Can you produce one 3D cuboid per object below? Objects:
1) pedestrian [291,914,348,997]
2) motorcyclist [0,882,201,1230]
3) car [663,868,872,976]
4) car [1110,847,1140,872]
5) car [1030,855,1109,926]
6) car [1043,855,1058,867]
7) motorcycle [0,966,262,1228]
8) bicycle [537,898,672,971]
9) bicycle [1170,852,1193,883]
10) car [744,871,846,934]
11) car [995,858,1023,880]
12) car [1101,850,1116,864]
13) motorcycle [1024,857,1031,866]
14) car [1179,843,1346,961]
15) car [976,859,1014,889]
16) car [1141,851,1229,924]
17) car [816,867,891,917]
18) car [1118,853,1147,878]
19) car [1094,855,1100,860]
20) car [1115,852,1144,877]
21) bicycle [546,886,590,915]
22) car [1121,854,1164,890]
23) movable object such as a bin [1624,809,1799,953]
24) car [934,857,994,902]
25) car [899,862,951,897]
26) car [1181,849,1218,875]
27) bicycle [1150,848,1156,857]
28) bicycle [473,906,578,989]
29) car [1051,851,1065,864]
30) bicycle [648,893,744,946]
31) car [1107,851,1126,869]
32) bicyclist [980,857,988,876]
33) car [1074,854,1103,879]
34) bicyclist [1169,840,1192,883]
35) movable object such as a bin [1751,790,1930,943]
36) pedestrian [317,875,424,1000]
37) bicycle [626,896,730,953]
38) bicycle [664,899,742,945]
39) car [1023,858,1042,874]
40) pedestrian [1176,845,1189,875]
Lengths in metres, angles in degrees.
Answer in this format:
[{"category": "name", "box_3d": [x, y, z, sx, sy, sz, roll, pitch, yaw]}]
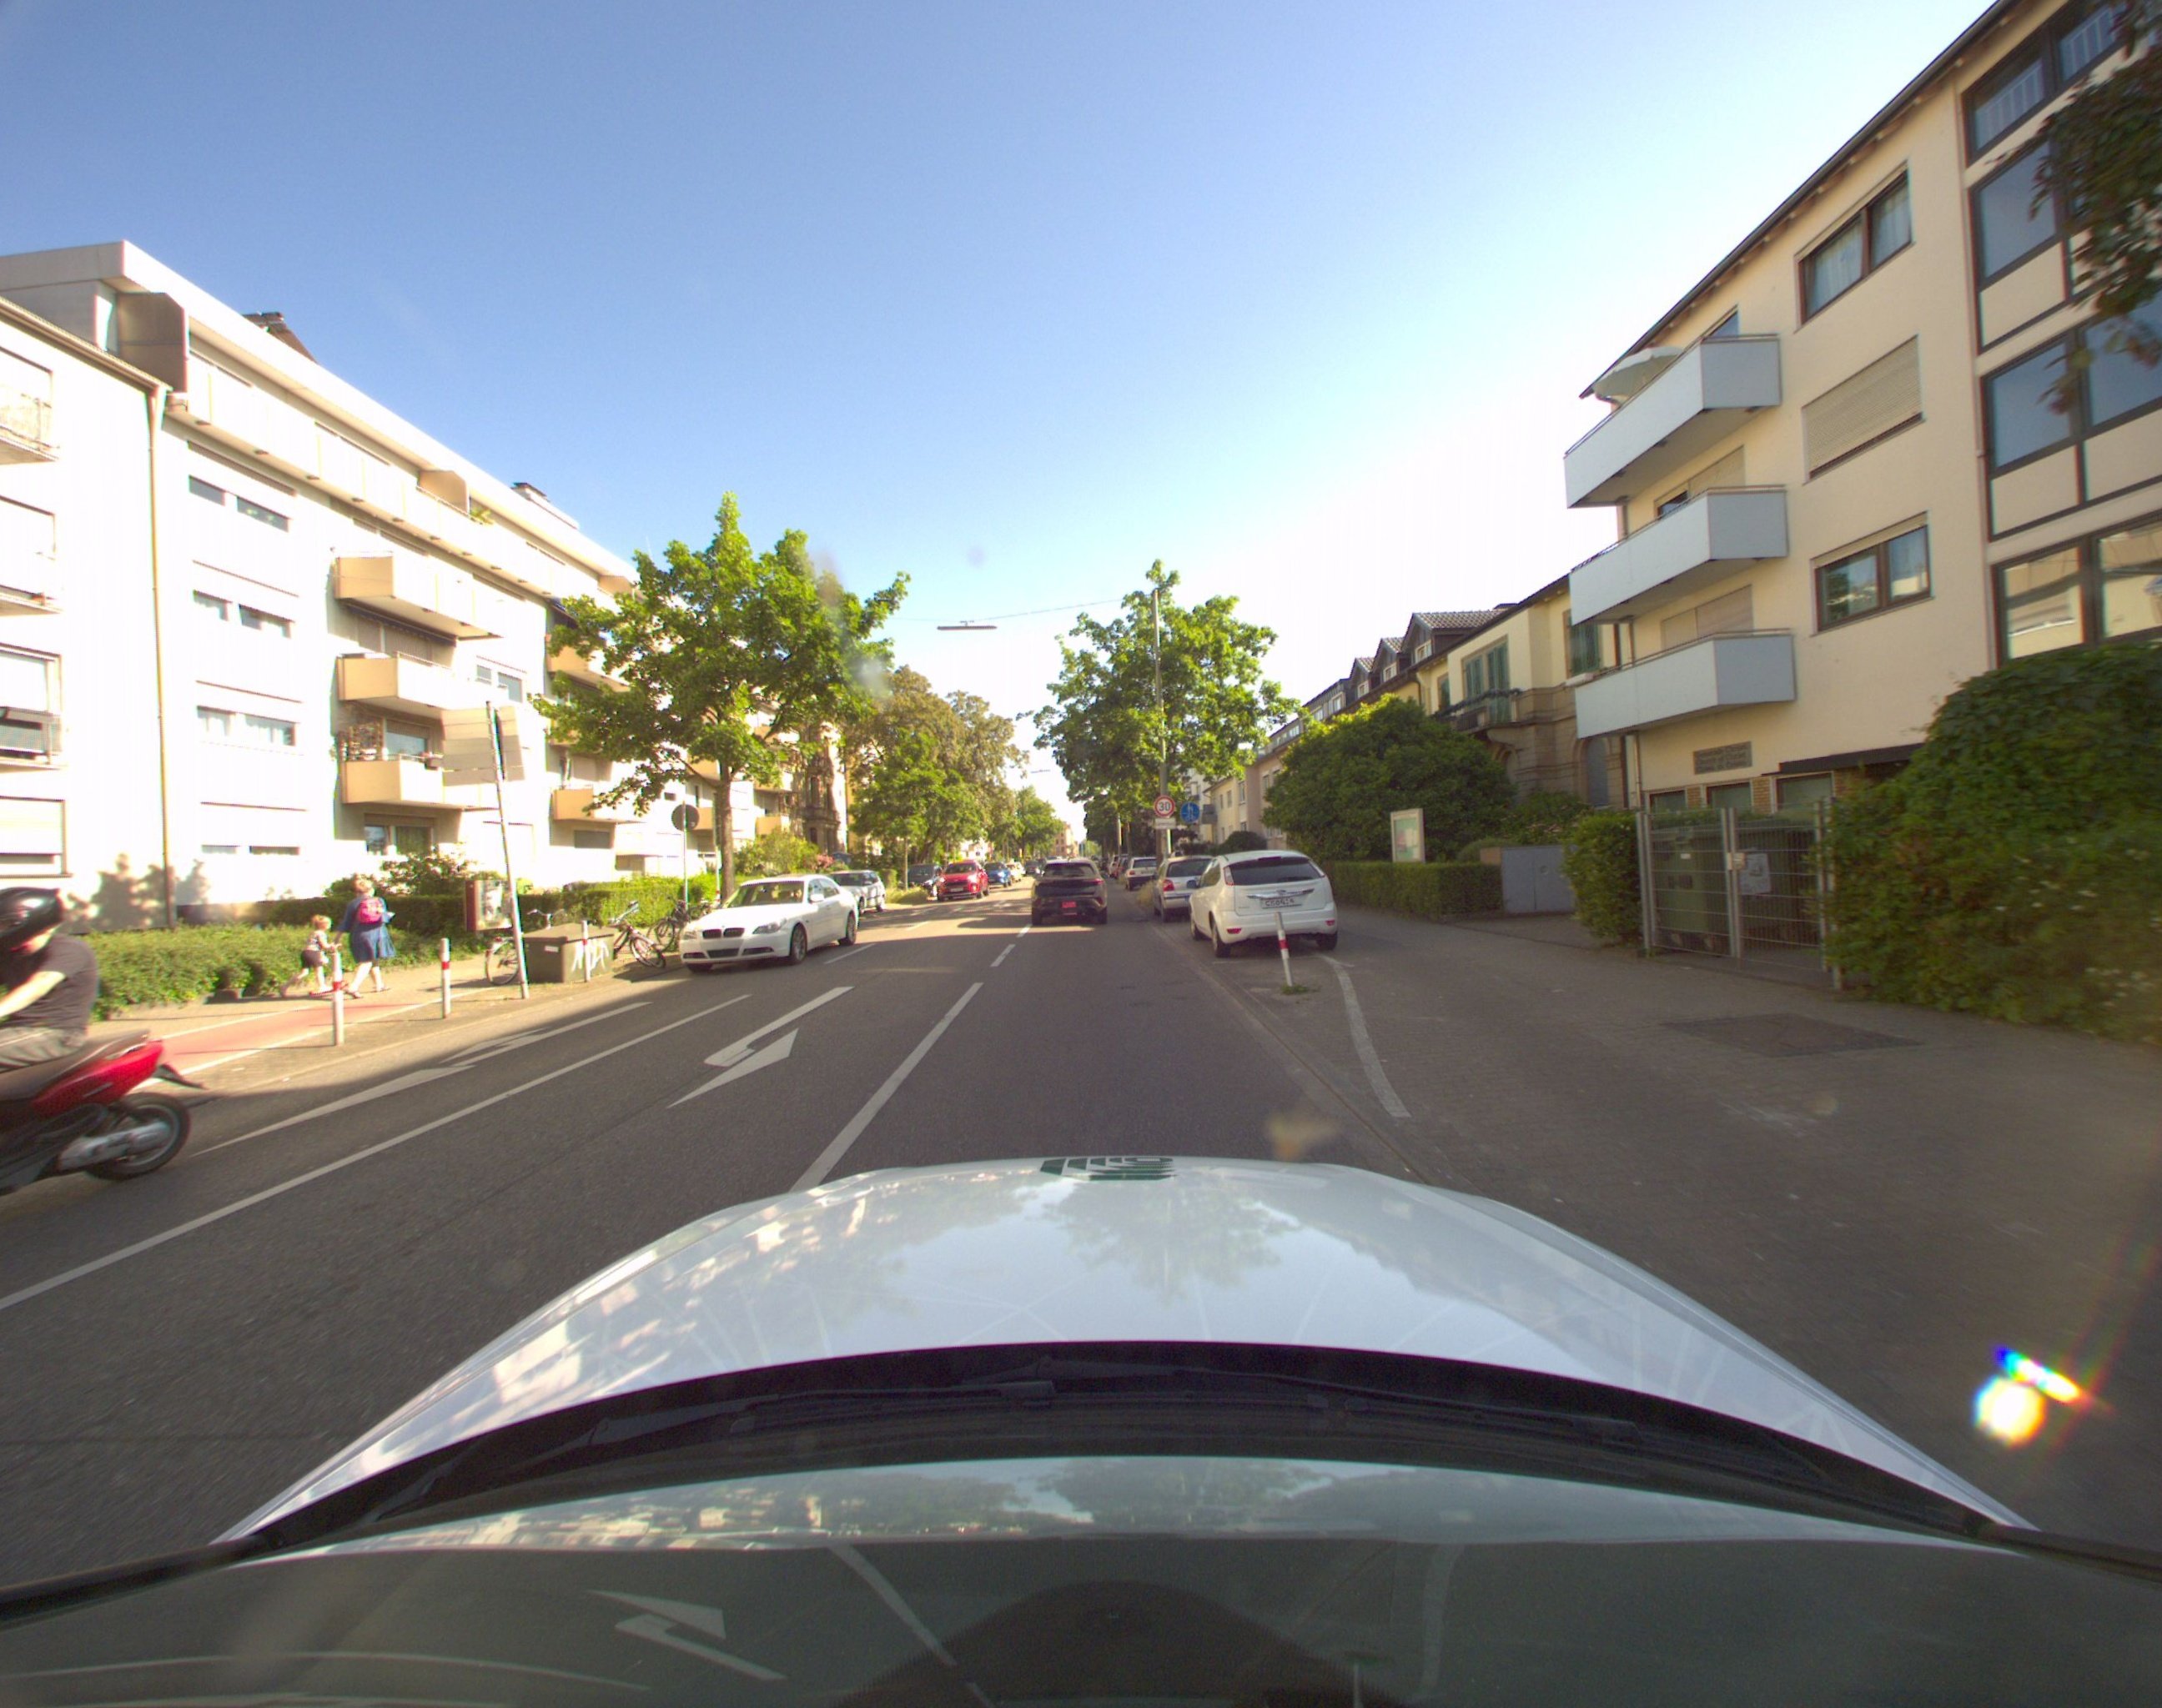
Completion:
[{"category": "pedestrian", "box_3d": [-11.203, 1.481, 11.993, 0.333, 1.160, 0.490, -2, 0, 0]}, {"category": "motorcyclist", "box_3d": [-5.598, 1.021, 4.314, 0.725, 1.647, 0.919, -5, 0, 5]}, {"category": "car", "box_3d": [-5.488, 1.100, 15.050, 1.807, 1.464, 4.779, -5, 0, 1]}, {"category": "car", "box_3d": [3.207, 0.387, 60.188, 1.764, 1.659, 4.339, -4, 0, -1]}, {"category": "car", "box_3d": [-0.248, 0.837, 20.217, 1.739, 1.573, 3.558, -1, 0, 0]}, {"category": "car", "box_3d": [-4.186, 0.967, 113.158, 1.727, 1.412, 4.192, -5, 0, 0]}, {"category": "motorcycle", "box_3d": [-5.547, 1.295, 4.217, 0.446, 1.121, 1.935, -5, 0, 5]}, {"category": "bicycle", "box_3d": [-8.216, 1.383, 14.087, 1.963, 1.162, 0.518, -1, 0, -4]}, {"category": "bicycle", "box_3d": [4.293, 0.562, 34.989, 0.695, 1.247, 1.822, -4, 0, 1]}, {"category": "car", "box_3d": [-7.810, 1.267, 22.595, 1.500, 1.475, 3.894, -2, 0, -1]}, {"category": "car", "box_3d": [-5.191, 1.052, 58.975, 1.630, 1.403, 3.735, -5, 0, -1]}, {"category": "car", "box_3d": [3.098, 0.356, 92.024, 1.580, 1.396, 4.455, -4, 0, 1]}, {"category": "motorcycle", "box_3d": [-7.193, 0.967, 109.276, 0.458, 1.125, 1.721, -2, 0, 8]}, {"category": "car", "box_3d": [2.720, 0.655, 13.164, 1.733, 1.482, 4.196, -4, 0, 1]}, {"category": "car", "box_3d": [-5.043, 1.138, 48.209, 1.650, 1.517, 4.076, -6, 0, 0]}, {"category": "car", "box_3d": [2.390, 0.734, 19.588, 1.562, 1.457, 3.865, -4, 0, 0]}, {"category": "car", "box_3d": [-7.752, 1.254, 28.055, 1.396, 1.489, 3.687, -2, 0, 2]}, {"category": "car", "box_3d": [3.069, 0.666, 49.061, 1.527, 1.356, 3.718, -3, 0, 0]}, {"category": "car", "box_3d": [5.146, 1.132, 259.858, 1.986, 1.519, 4.002, 0, -1, 2]}, {"category": "car", "box_3d": [3.152, 0.670, 53.540, 1.527, 1.449, 3.716, -3, 0, -1]}, {"category": "bicycle", "box_3d": [-18.698, 1.691, 29.725, 0.479, 0.941, 1.655, -4, 0, 1]}, {"category": "car", "box_3d": [2.688, 0.760, 36.467, 1.643, 1.403, 3.971, -5, 0, 2]}, {"category": "movable object such as a bin", "box_3d": [6.688, 0.266, 8.682, 1.138, 1.355, 0.840, -5, 0, -9]}, {"category": "car", "box_3d": [-4.968, 1.036, 35.139, 1.715, 1.617, 4.301, -6, 0, 1]}, {"category": "car", "box_3d": [-7.786, 1.239, 41.035, 1.664, 1.605, 4.395, -2, 0, 1]}, {"category": "car", "box_3d": [6.987, 0.466, 48.324, 1.527, 1.355, 3.718, -6, 0, 0]}, {"category": "bicycle", "box_3d": [11.255, -0.196, 127.717, 0.621, 1.287, 1.842, -6, 0, 1]}, {"category": "bicycle", "box_3d": [-8.669, 1.429, 12.790, 0.425, 1.078, 1.706, -3, 0, 0]}, {"category": "car", "box_3d": [-3.760, 0.621, 134.732, 2.010, 1.952, 5.177, -5, 0, 0]}, {"category": "bicycle", "box_3d": [-8.296, 1.413, 17.574, 1.820, 1.087, 0.492, 0, -1, -1]}, {"category": "car", "box_3d": [3.312, 0.535, 75.687, 1.614, 1.499, 3.651, -4, 0, 2]}, {"category": "bicyclist", "box_3d": [-9.424, 1.220, 78.933, 0.606, 1.754, 0.691, -3, 0, 0]}, {"category": "car", "box_3d": [0.564, 0.811, 55.496, 1.823, 1.578, 3.840, -3, 0, 1]}, {"category": "bicyclist", "box_3d": [4.283, 0.307, 35.135, 0.721, 1.793, 1.015, -4, 0, 0]}, {"category": "movable object such as a bin", "box_3d": [8.029, 0.119, 8.648, 1.087, 1.473, 0.841, -4, 0, -9]}, {"category": "pedestrian", "box_3d": [-10.235, 1.175, 11.770, 0.667, 1.686, 0.929, -2, 0, -1]}, {"category": "bicycle", "box_3d": [-8.208, 1.429, 16.628, 1.820, 1.087, 0.560, 0, -1, -1]}, {"category": "bicycle", "box_3d": [-8.405, 1.509, 18.134, 1.532, 0.965, 0.448, 0, -1, -1]}, {"category": "car", "box_3d": [-4.654, 1.131, 78.967, 1.576, 1.451, 3.744, -4, 0, 0]}, {"category": "pedestrian", "box_3d": [5.870, 0.356, 47.105, 0.536, 1.677, 0.493, -4, 0, 0]}]
